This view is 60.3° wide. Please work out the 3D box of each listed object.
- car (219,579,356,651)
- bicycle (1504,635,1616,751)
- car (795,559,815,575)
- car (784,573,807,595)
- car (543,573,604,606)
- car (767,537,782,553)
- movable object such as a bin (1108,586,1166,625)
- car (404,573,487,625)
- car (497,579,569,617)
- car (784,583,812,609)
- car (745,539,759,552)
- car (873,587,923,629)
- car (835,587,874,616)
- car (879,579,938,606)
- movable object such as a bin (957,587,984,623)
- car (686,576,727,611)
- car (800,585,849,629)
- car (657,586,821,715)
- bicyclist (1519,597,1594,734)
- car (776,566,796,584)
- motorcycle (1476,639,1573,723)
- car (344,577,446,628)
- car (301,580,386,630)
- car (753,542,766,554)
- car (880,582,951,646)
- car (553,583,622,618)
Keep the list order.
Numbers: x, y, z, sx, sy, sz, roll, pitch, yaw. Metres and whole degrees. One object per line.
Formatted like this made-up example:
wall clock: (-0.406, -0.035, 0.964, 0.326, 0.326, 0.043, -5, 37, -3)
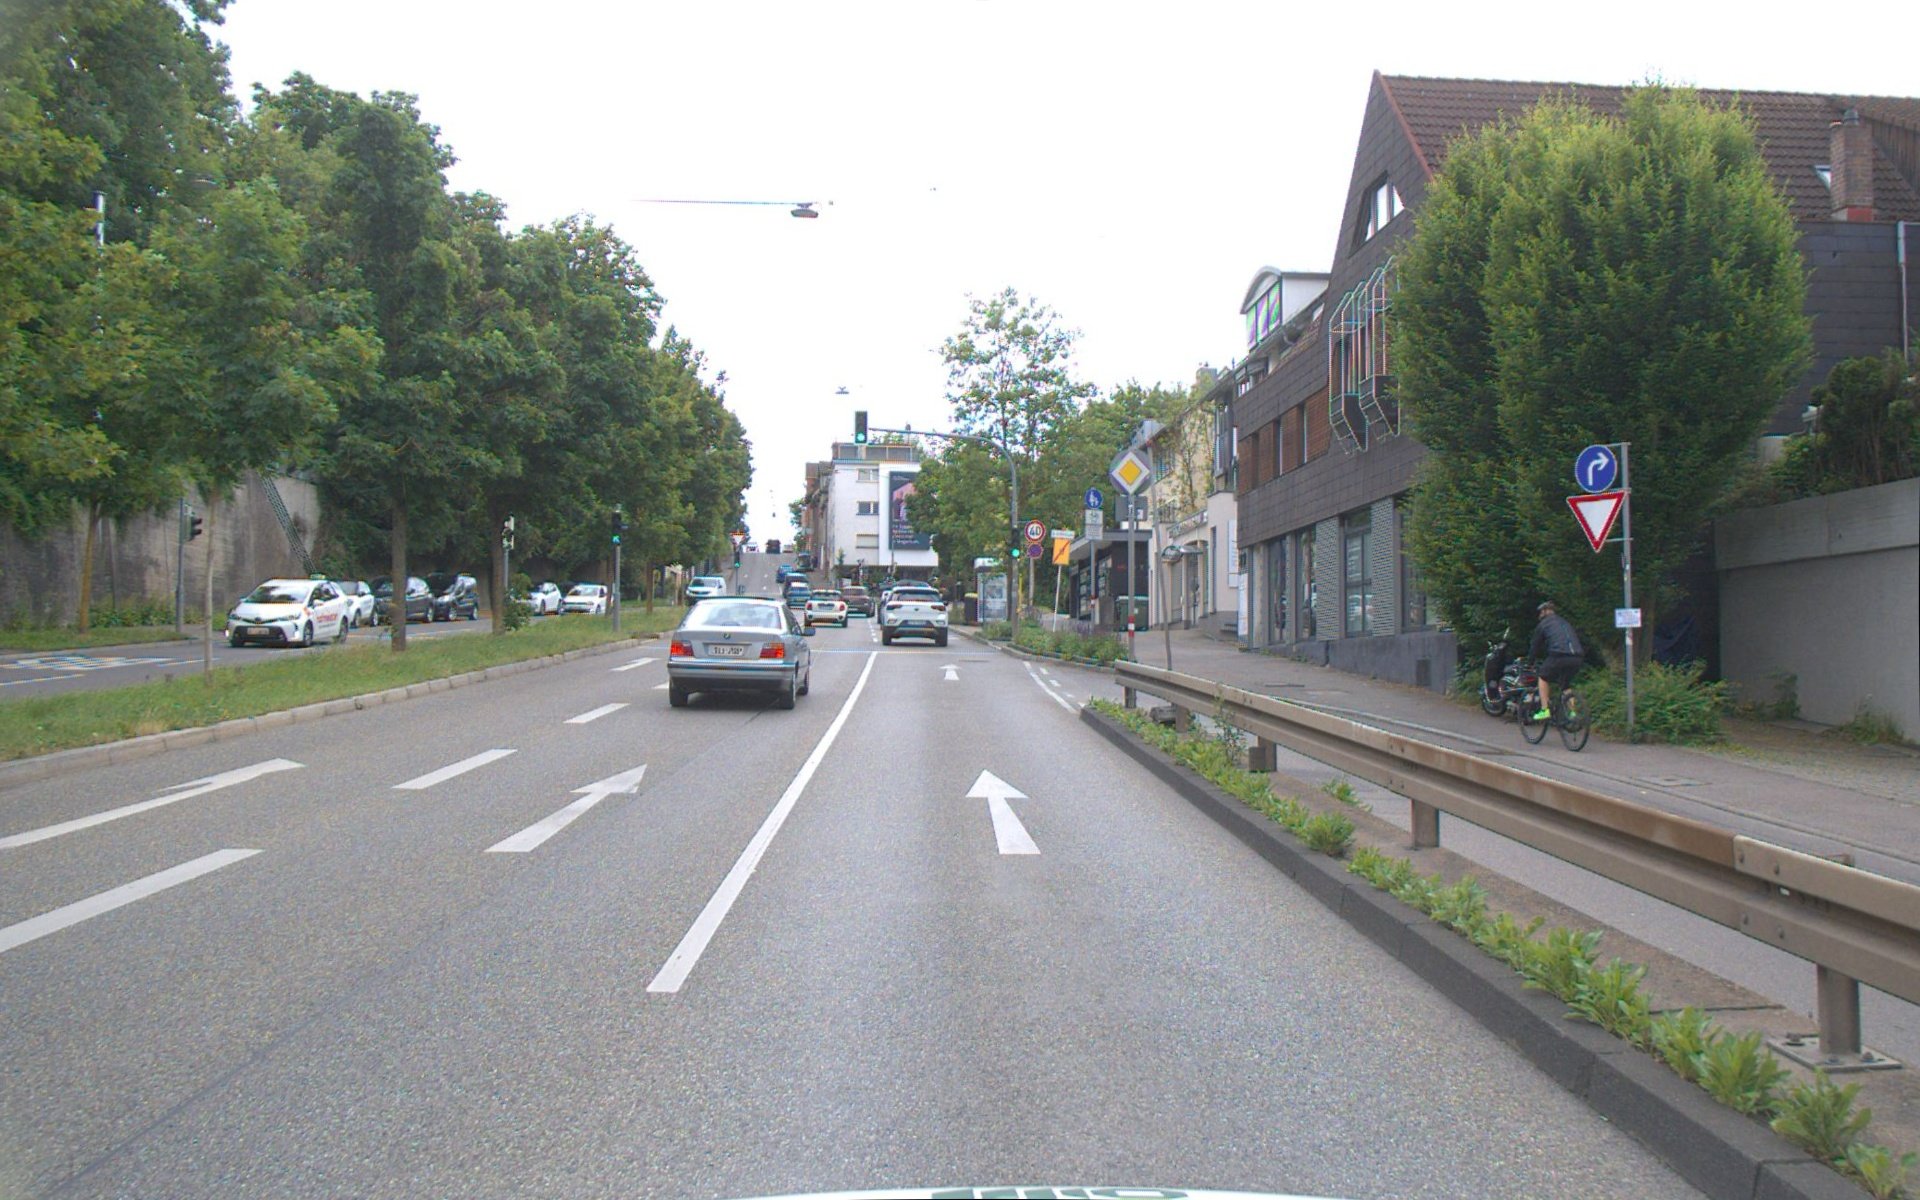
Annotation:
car: (-16.316, 0.322, 40.360, 1.745, 1.587, 4.456, 2, 1, -4)
bicycle: (7.487, 1.129, 20.743, 0.560, 1.284, 2.038, 0, 2, -3)
car: (-16.094, -3.427, 171.487, 2.049, 1.641, 3.996, 2, 1, -6)
car: (-12.994, -1.267, 130.350, 1.746, 1.606, 3.995, 2, 1, -7)
car: (-19.186, -0.527, 82.239, 1.676, 1.555, 4.304, 2, 1, 5)
car: (-25.015, -7.384, 223.214, 1.955, 2.048, 3.994, 2, 1, -7)
movable object such as a bin: (7.075, 0.195, 66.448, 1.850, 1.477, 3.999, 1, 1, -1)
car: (-19.945, -0.072, 64.283, 1.743, 1.875, 4.488, 2, 1, 0)
car: (-19.670, -0.121, 76.326, 1.742, 1.657, 4.174, 2, 1, 8)
car: (-10.758, -0.258, 109.840, 1.746, 1.606, 3.995, 2, 1, -7)
car: (-28.618, -7.476, 227.762, 1.847, 1.594, 4.384, 0, 3, -7)
car: (-2.374, 0.274, 62.786, 1.745, 1.434, 3.997, 2, 1, -4)
car: (-5.704, 0.084, 89.577, 1.743, 1.461, 4.001, 2, 1, 1)
car: (-4.297, -0.615, 137.483, 4.600, 1.741, 2.316, 5, 3, -7)
movable object such as a bin: (0.445, 0.202, 70.014, 1.063, 1.507, 1.536, 1, 0, -2)
car: (-15.173, -0.437, 99.129, 1.900, 1.992, 5.019, 2, 1, -3)
car: (-5.361, 0.266, 65.214, 1.746, 1.606, 3.995, 2, 1, -7)
car: (-2.864, 0.601, 22.181, 1.672, 1.489, 4.000, 2, 1, -1)
bicyclist: (7.454, 0.802, 20.689, 0.527, 1.662, 0.947, 1, 0, -3)
car: (-15.923, -2.291, 151.198, 1.746, 1.606, 3.995, 2, 1, -7)
motorcycle: (8.056, 1.133, 23.694, 0.681, 1.069, 1.967, 0, 1, -1)
car: (-19.938, 0.074, 58.570, 1.929, 1.685, 4.533, 2, 0, 1)
car: (-20.048, 0.132, 53.900, 1.745, 1.524, 3.095, 2, 1, -4)
car: (-29.631, -7.702, 244.528, 1.847, 1.594, 4.384, 0, 3, -7)
car: (-1.262, 0.341, 45.398, 1.745, 1.606, 3.997, 2, 1, -4)
car: (-16.626, 0.009, 74.049, 1.692, 1.453, 3.794, 2, 1, 9)
